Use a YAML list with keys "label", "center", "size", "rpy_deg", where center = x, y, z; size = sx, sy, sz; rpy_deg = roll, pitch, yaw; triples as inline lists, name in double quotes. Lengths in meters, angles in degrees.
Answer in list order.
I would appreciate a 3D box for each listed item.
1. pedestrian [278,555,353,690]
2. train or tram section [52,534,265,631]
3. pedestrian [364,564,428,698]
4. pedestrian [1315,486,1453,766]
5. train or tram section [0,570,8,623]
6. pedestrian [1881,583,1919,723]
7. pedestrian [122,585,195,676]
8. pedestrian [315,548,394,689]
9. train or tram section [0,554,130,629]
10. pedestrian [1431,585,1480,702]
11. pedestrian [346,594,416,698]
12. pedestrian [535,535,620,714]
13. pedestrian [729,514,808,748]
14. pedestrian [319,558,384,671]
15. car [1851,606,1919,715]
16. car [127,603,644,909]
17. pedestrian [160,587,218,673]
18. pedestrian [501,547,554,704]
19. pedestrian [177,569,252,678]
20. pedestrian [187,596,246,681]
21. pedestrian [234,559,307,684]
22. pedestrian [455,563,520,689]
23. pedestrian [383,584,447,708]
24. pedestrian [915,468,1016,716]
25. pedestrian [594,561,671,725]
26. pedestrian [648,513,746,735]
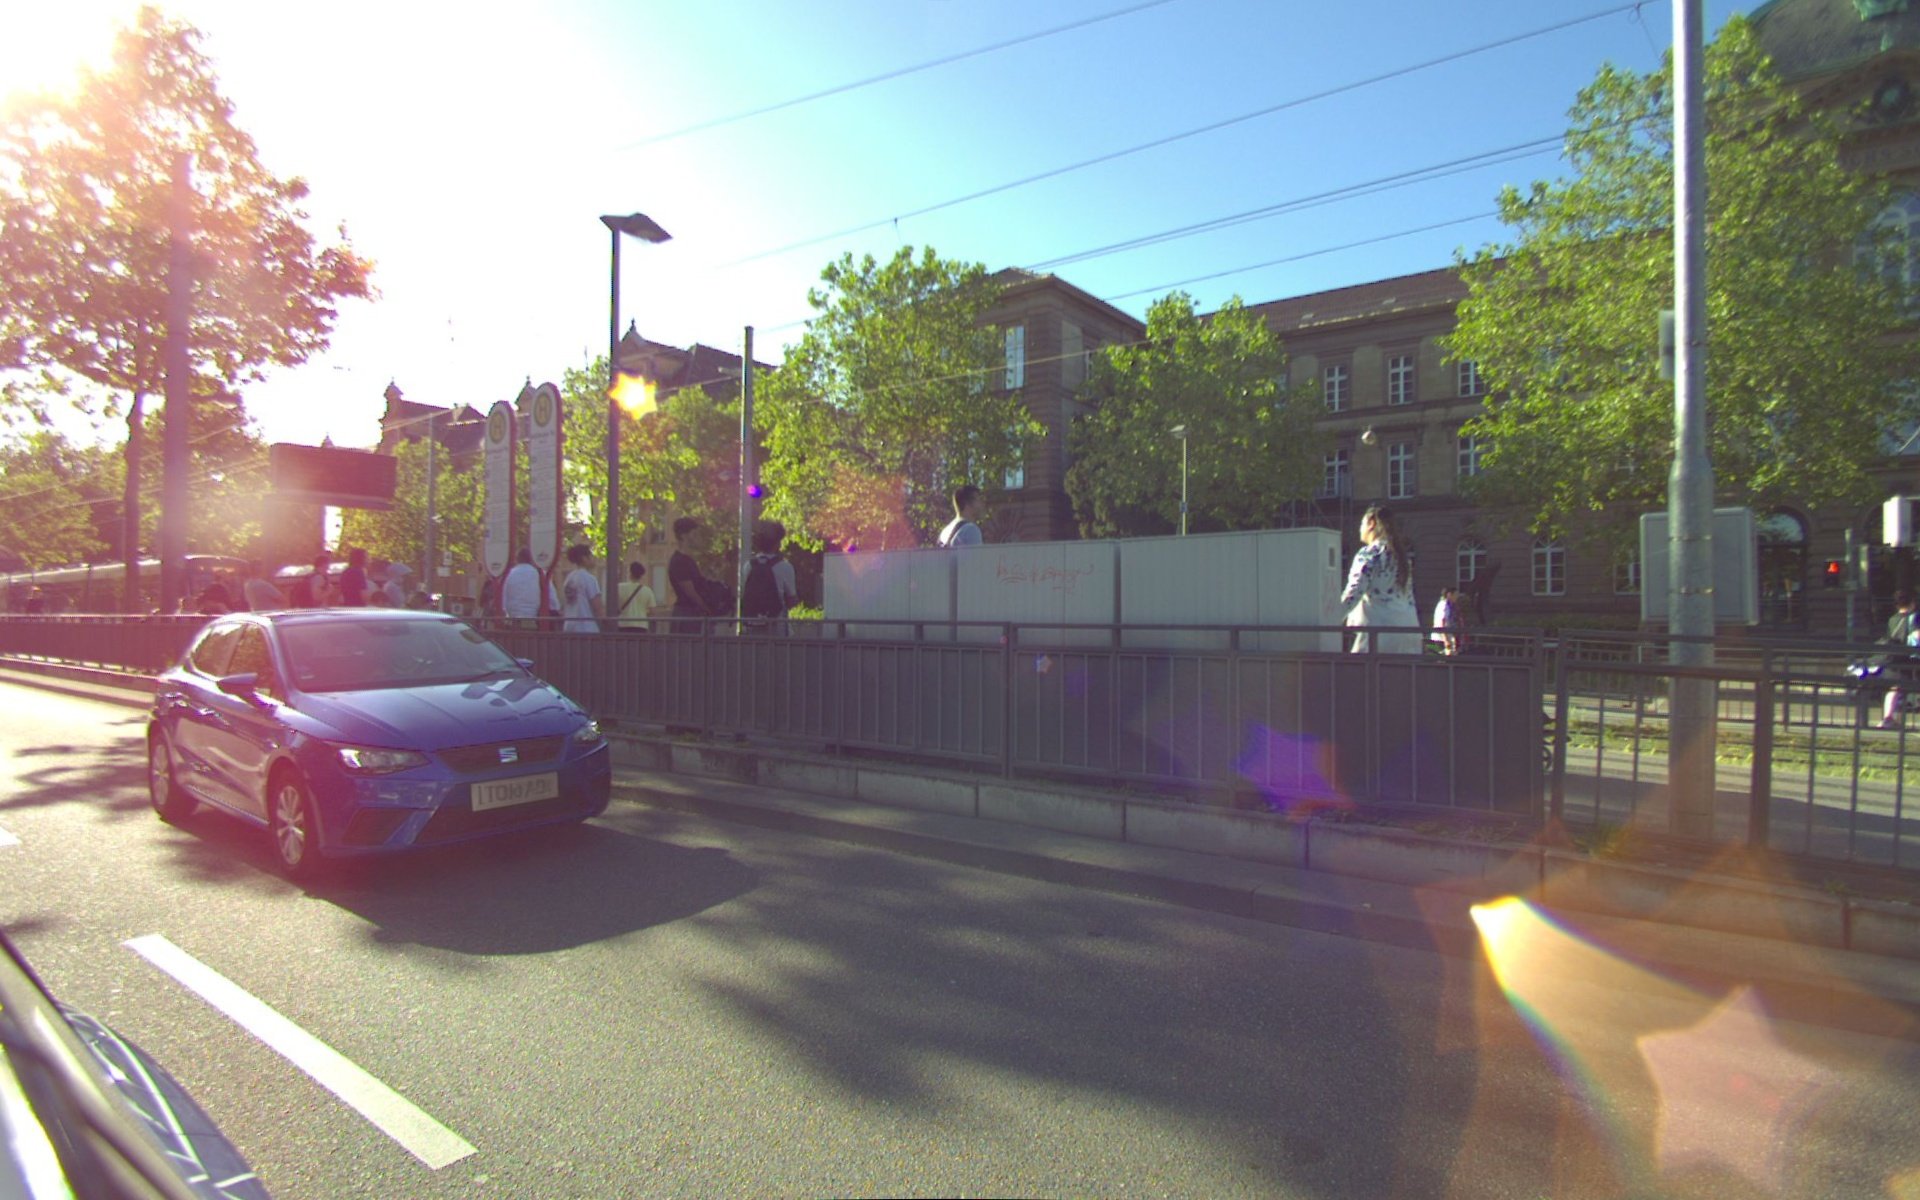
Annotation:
- label: "pedestrian"
  center: [-8.466, 0.292, 13.293]
  size: [0.570, 1.709, 0.654]
  rpy_deg: [-1, -2, 38]
- label: "train or tram section"
  center: [-34.354, -0.514, 42.780]
  size: [18.187, 3.460, 2.822]
  rpy_deg: [-1, 0, 38]
- label: "pedestrian"
  center: [-7.482, 0.405, 13.431]
  size: [0.620, 1.721, 0.510]
  rpy_deg: [-1, -2, 37]
- label: "pedestrian"
  center: [2.663, 0.149, 6.339]
  size: [0.639, 1.631, 0.634]
  rpy_deg: [2, 0, 34]
- label: "train or tram section"
  center: [-53.106, -0.108, 52.879]
  size: [15.050, 2.551, 2.538]
  rpy_deg: [-1, -1, 38]
- label: "pedestrian"
  center: [11.706, 0.635, 12.285]
  size: [0.623, 1.677, 0.711]
  rpy_deg: [2, -2, -43]
- label: "pedestrian"
  center: [-13.861, 0.529, 17.514]
  size: [0.750, 1.521, 0.769]
  rpy_deg: [-1, -2, 34]
- label: "pedestrian"
  center: [-7.562, 0.234, 12.649]
  size: [0.570, 1.709, 0.654]
  rpy_deg: [-1, -2, 38]
- label: "train or tram section"
  center: [-48.704, -0.287, 53.998]
  size: [18.248, 3.460, 2.844]
  rpy_deg: [-1, 0, 38]
- label: "pedestrian"
  center: [7.510, 0.650, 15.351]
  size: [0.544, 1.741, 0.519]
  rpy_deg: [-1, -2, 41]
- label: "pedestrian"
  center: [-6.914, 0.537, 12.082]
  size: [0.530, 1.201, 0.540]
  rpy_deg: [-1, -2, 37]
- label: "pedestrian"
  center: [-3.803, 0.245, 10.068]
  size: [0.610, 1.715, 0.501]
  rpy_deg: [-1, -2, 33]
- label: "pedestrian"
  center: [-1.495, 0.238, 7.872]
  size: [0.530, 1.747, 0.551]
  rpy_deg: [1, -2, -16]
- label: "pedestrian"
  center: [-9.212, 0.230, 15.323]
  size: [0.621, 1.662, 0.613]
  rpy_deg: [-1, -2, 33]
- label: "car"
  center: [16.899, 0.975, 15.863]
  size: [4.222, 1.674, 1.975]
  rpy_deg: [0, 1, 37]
- label: "car"
  center: [-3.934, 0.760, 6.670]
  size: [3.871, 1.426, 1.685]
  rpy_deg: [-1, 0, 39]
- label: "pedestrian"
  center: [-12.099, 0.470, 15.888]
  size: [0.603, 1.309, 0.529]
  rpy_deg: [-1, -2, 34]
- label: "pedestrian"
  center: [-4.889, 0.292, 11.436]
  size: [0.498, 1.715, 0.613]
  rpy_deg: [1, -2, -25]
- label: "pedestrian"
  center: [-12.478, 0.397, 16.947]
  size: [0.721, 1.766, 0.769]
  rpy_deg: [-1, -2, 34]
- label: "pedestrian"
  center: [-11.214, 0.576, 15.267]
  size: [0.603, 1.256, 0.529]
  rpy_deg: [-1, -2, 35]
- label: "pedestrian"
  center: [-9.420, 0.295, 13.837]
  size: [0.570, 1.646, 0.654]
  rpy_deg: [-1, -2, 38]
- label: "pedestrian"
  center: [-5.942, 0.328, 12.735]
  size: [0.530, 1.530, 0.540]
  rpy_deg: [-1, -2, 37]
- label: "pedestrian"
  center: [-6.008, 0.496, 11.157]
  size: [0.506, 1.326, 0.412]
  rpy_deg: [-1, -2, 36]
- label: "pedestrian"
  center: [0.046, -0.051, 7.517]
  size: [0.538, 1.747, 0.543]
  rpy_deg: [-1, -2, 33]
- label: "pedestrian"
  center: [-3.701, 0.477, 11.441]
  size: [0.610, 1.783, 0.548]
  rpy_deg: [-1, -2, 33]
- label: "pedestrian"
  center: [-2.162, 0.195, 8.346]
  size: [0.538, 1.747, 0.543]
  rpy_deg: [-1, -2, 32]
